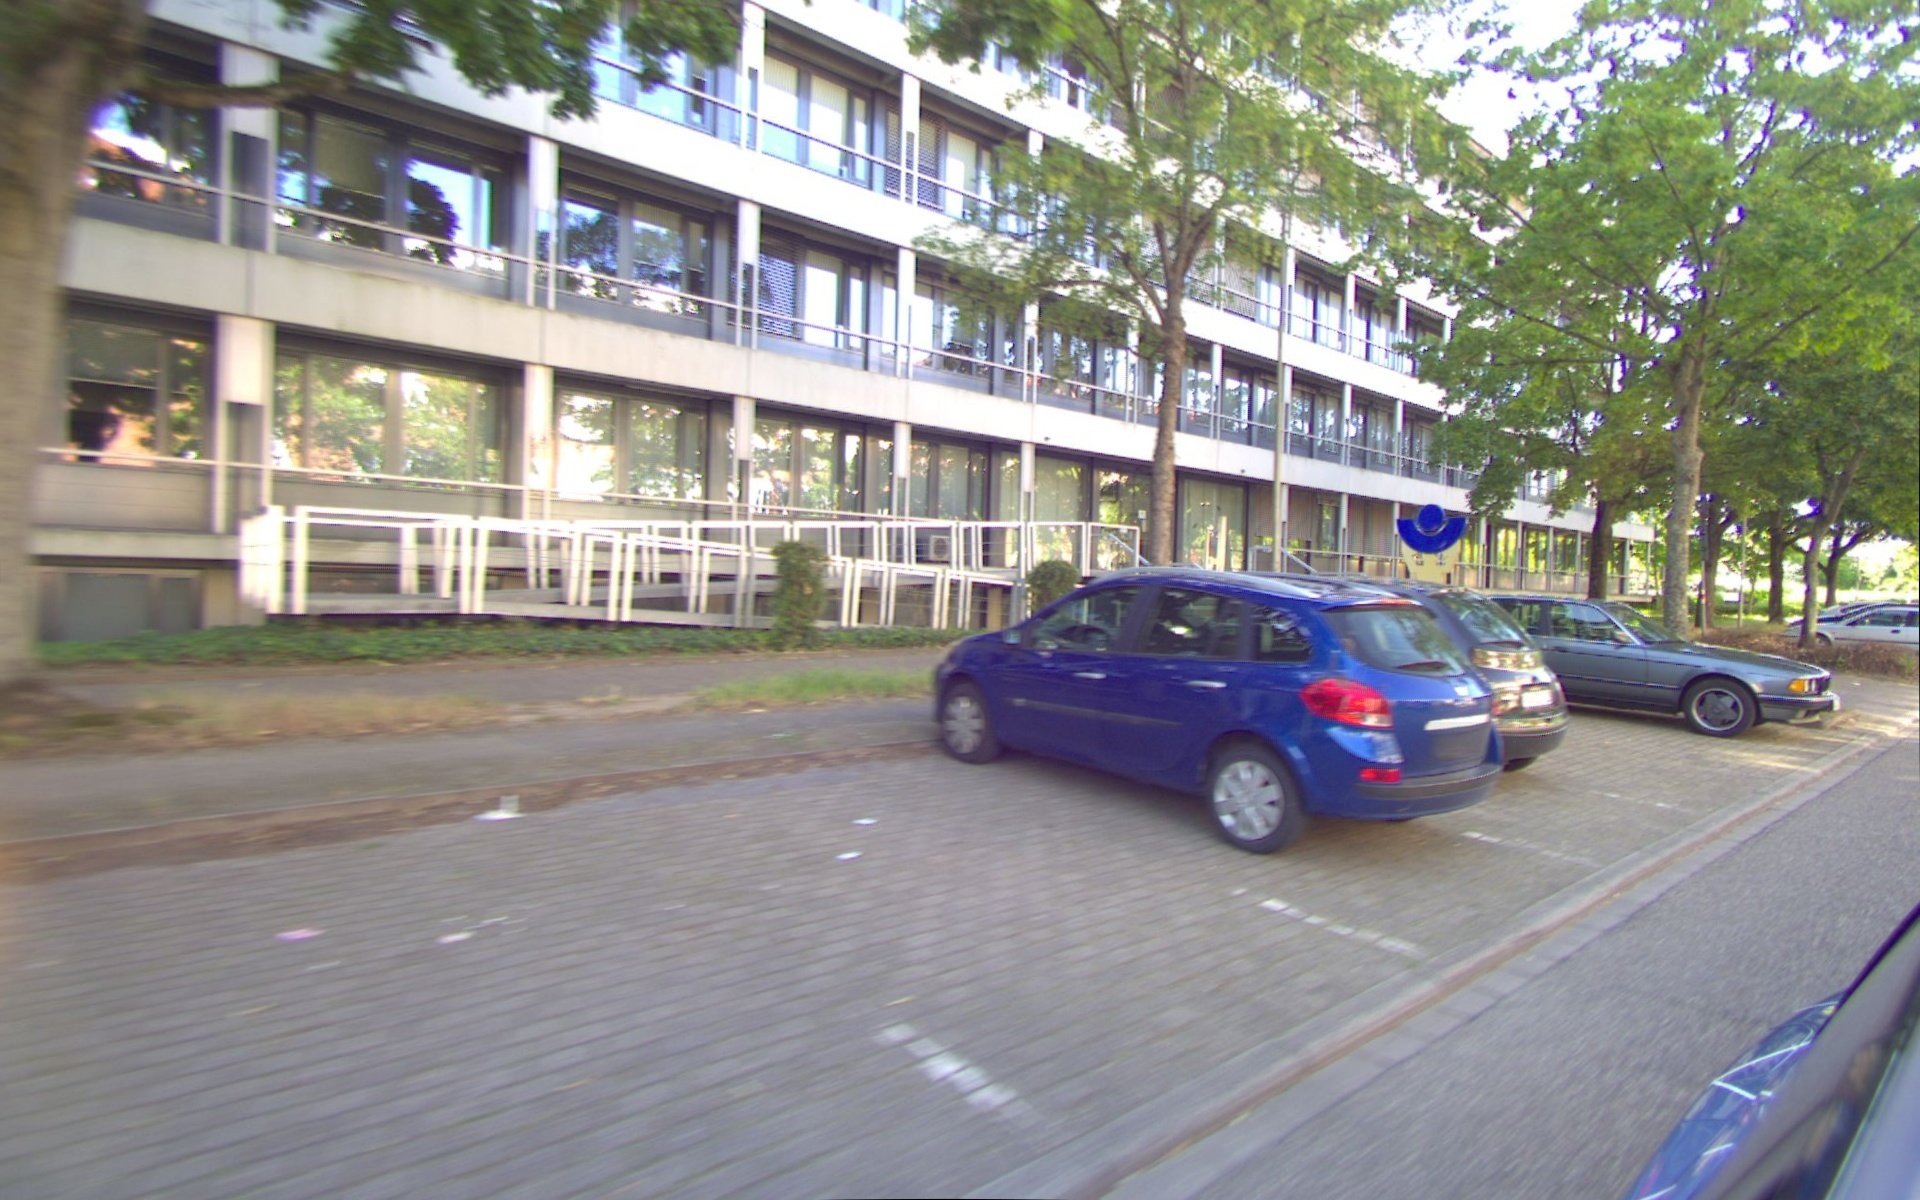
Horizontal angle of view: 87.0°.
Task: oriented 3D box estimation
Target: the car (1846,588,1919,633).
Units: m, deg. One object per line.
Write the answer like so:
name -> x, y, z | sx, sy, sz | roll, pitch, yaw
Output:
car -> 36.319, 0.449, 37.925 | 1.890, 1.561, 4.521 | 0, 4, -44

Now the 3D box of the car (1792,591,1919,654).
car -> 24.218, 0.595, 26.087 | 1.680, 1.437, 3.980 | 0, 3, -40

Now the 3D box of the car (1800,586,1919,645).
car -> 27.853, 0.499, 29.762 | 1.733, 1.511, 4.600 | 0, 4, -42

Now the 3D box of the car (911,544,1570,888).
car -> 1.568, 0.461, 6.847 | 1.780, 1.533, 3.961 | 0, 3, -39

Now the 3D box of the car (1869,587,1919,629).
car -> 38.551, 0.410, 39.270 | 1.886, 1.561, 4.530 | 0, 3, -37

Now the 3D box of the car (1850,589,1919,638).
car -> 31.873, 0.493, 33.270 | 1.590, 1.511, 3.747 | 0, 4, -44

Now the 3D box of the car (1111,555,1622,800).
car -> 3.298, 0.460, 8.745 | 1.780, 1.533, 3.650 | 0, 3, -40

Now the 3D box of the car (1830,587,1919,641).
car -> 30.095, 0.491, 31.514 | 1.969, 1.511, 4.294 | 0, 4, -42

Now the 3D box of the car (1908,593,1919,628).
car -> 42.907, 0.558, 42.295 | 1.716, 1.493, 4.588 | 0, 2, -40

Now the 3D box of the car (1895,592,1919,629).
car -> 40.685, 0.546, 40.928 | 1.886, 1.464, 3.851 | 1, 3, -36

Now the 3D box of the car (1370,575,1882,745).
car -> 7.835, 0.539, 12.357 | 1.997, 1.437, 4.834 | 0, 4, -42
